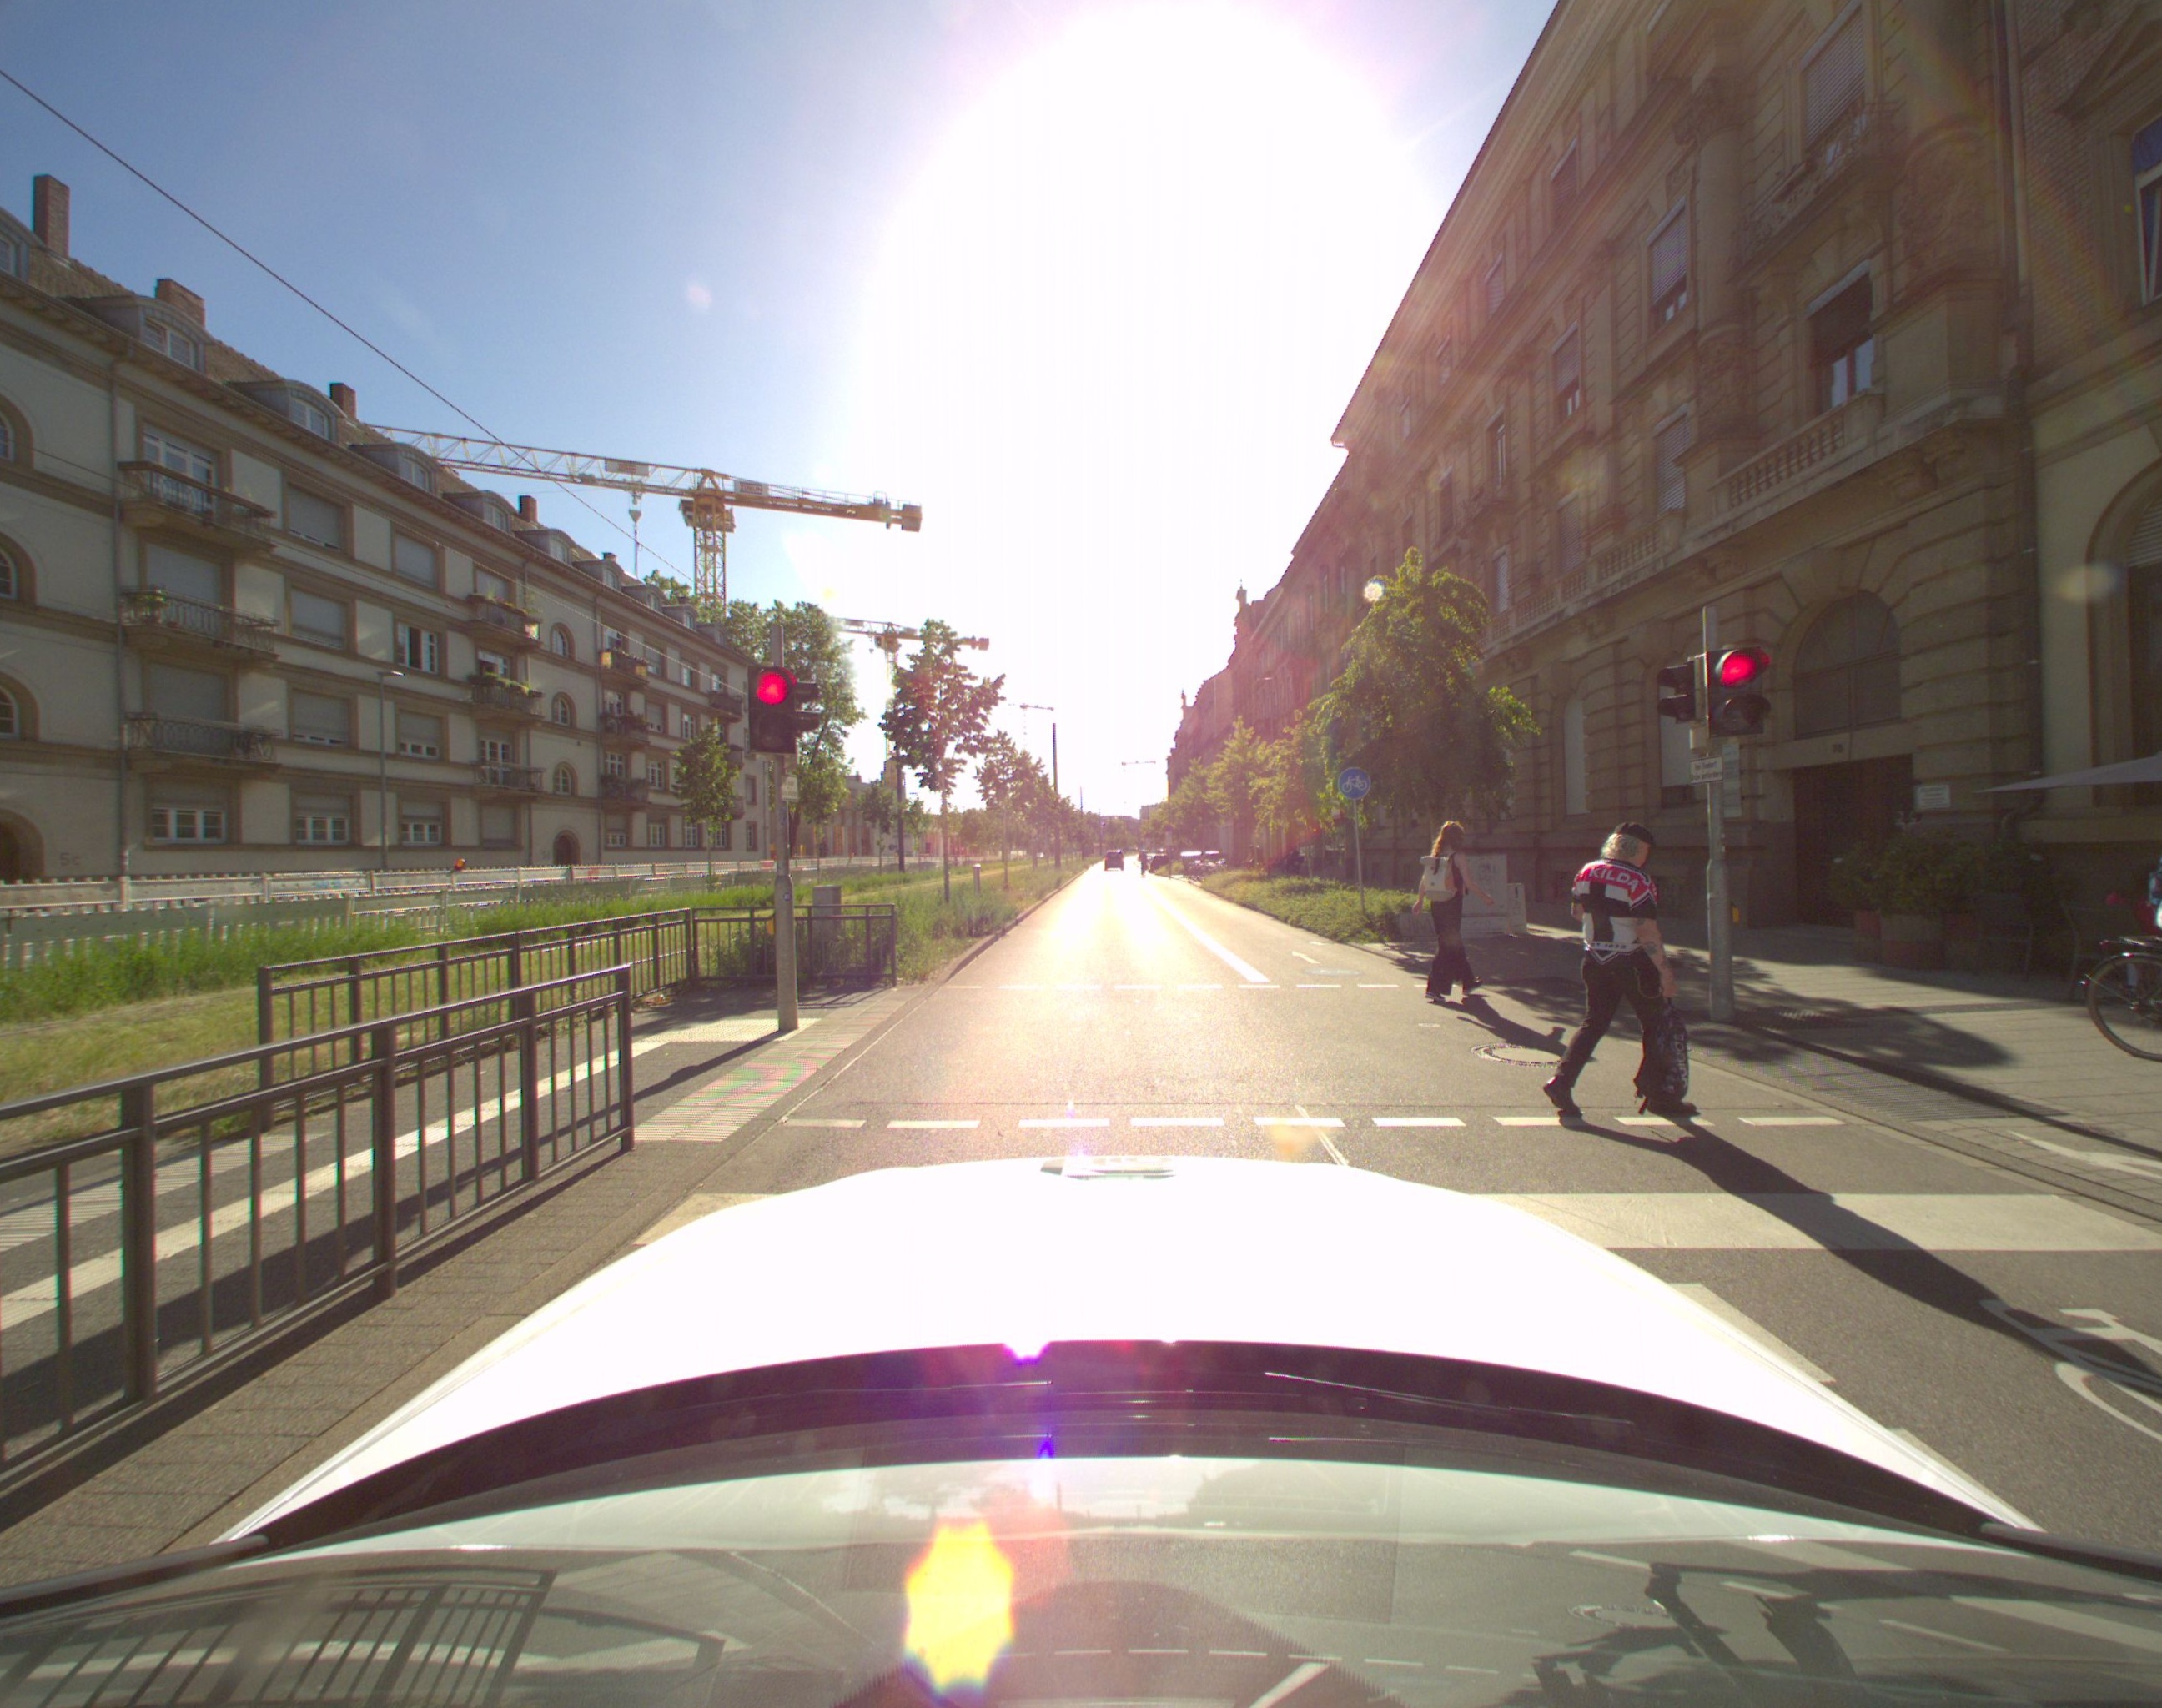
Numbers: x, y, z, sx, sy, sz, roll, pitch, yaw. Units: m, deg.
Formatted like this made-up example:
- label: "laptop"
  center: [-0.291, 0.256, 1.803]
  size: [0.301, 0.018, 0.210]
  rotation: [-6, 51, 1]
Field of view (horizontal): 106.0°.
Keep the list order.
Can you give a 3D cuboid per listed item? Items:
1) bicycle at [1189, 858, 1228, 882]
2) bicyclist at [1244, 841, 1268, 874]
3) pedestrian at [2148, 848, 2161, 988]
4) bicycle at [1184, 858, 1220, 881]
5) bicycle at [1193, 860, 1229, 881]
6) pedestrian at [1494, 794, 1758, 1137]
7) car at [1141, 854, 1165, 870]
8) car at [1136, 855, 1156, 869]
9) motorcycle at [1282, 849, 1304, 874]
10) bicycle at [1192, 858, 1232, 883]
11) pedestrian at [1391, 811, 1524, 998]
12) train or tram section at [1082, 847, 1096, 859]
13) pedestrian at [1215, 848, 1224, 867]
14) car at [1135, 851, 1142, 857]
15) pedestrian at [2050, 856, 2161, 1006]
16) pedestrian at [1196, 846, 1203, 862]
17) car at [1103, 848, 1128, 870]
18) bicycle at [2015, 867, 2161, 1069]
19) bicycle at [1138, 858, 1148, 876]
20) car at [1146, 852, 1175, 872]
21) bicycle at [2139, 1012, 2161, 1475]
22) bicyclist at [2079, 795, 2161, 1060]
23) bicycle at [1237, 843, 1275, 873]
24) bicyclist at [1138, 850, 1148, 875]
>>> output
- label: "bicycle"
  center: [6.419, 0.807, 41.095]
  size: [1.786, 1.030, 0.528]
  rotation: [-6, 0, 1]
- label: "bicyclist"
  center: [8.652, 0.192, 40.324]
  size: [0.665, 1.530, 0.793]
  rotation: [-6, 0, -31]
- label: "pedestrian"
  center: [9.932, 0.553, 6.965]
  size: [0.703, 1.236, 0.635]
  rotation: [-3, 0, 1]
- label: "bicycle"
  center: [6.522, 0.834, 43.933]
  size: [1.786, 1.030, 0.528]
  rotation: [-6, 0, 1]
- label: "bicycle"
  center: [6.760, 0.850, 42.486]
  size: [1.786, 1.030, 0.528]
  rotation: [-2, 0, 1]
- label: "pedestrian"
  center: [3.116, 0.577, 4.766]
  size: [0.863, 1.788, 0.969]
  rotation: [-1, 0, -5]
- label: "car"
  center: [6.991, 0.748, 79.782]
  size: [2.020, 1.499, 4.532]
  rotation: [-2, 0, 2]
- label: "car"
  center: [7.334, 0.845, 92.310]
  size: [2.020, 1.499, 4.532]
  rotation: [-2, 0, 2]
- label: "motorcycle"
  center: [11.461, 0.391, 44.035]
  size: [0.697, 1.267, 1.983]
  rotation: [-2, 0, 2]
- label: "bicycle"
  center: [6.375, 0.795, 39.599]
  size: [1.786, 1.030, 0.528]
  rotation: [-6, 0, 1]
- label: "pedestrian"
  center: [4.028, 0.518, 8.766]
  size: [1.073, 1.908, 0.652]
  rotation: [-2, 0, -5]
- label: "train or tram section"
  center: [1.813, -0.172, 182.473]
  size: [2.745, 2.743, 9.869]
  rotation: [0, -1, 2]
- label: "pedestrian"
  center: [11.481, 0.289, 67.411]
  size: [0.611, 1.611, 0.669]
  rotation: [-2, 0, 1]
- label: "car"
  center: [16.587, -0.007, 234.839]
  size: [1.986, 1.729, 4.001]
  rotation: [0, -1, 2]
- label: "pedestrian"
  center: [9.063, 0.631, 6.975]
  size: [0.703, 1.178, 0.635]
  rotation: [-3, 0, 1]
- label: "pedestrian"
  center: [12.654, -0.012, 87.279]
  size: [0.611, 1.611, 0.669]
  rotation: [-2, 0, 1]
- label: "car"
  center: [3.197, 0.420, 76.446]
  size: [2.192, 1.926, 4.655]
  rotation: [-2, 0, 2]
- label: "bicycle"
  center: [6.996, 0.720, 4.897]
  size: [0.581, 1.222, 1.900]
  rotation: [-2, 0, 1]
- label: "bicycle"
  center: [4.252, 0.866, 56.019]
  size: [0.599, 1.181, 1.870]
  rotation: [0, 0, 1]
- label: "car"
  center: [6.564, 0.643, 67.463]
  size: [2.020, 1.499, 4.655]
  rotation: [-2, 0, 2]
- label: "bicycle"
  center: [2.835, 0.937, 1.086]
  size: [0.555, 1.092, 1.793]
  rotation: [0, 0, 1]
- label: "bicyclist"
  center: [7.009, 0.448, 4.953]
  size: [0.664, 1.639, 0.961]
  rotation: [-2, 0, 1]
- label: "bicycle"
  center: [8.646, 0.198, 40.355]
  size: [0.619, 1.330, 1.881]
  rotation: [-6, 0, -30]
- label: "bicyclist"
  center: [4.274, 0.597, 56.233]
  size: [0.681, 1.673, 0.922]
  rotation: [0, 0, 1]
